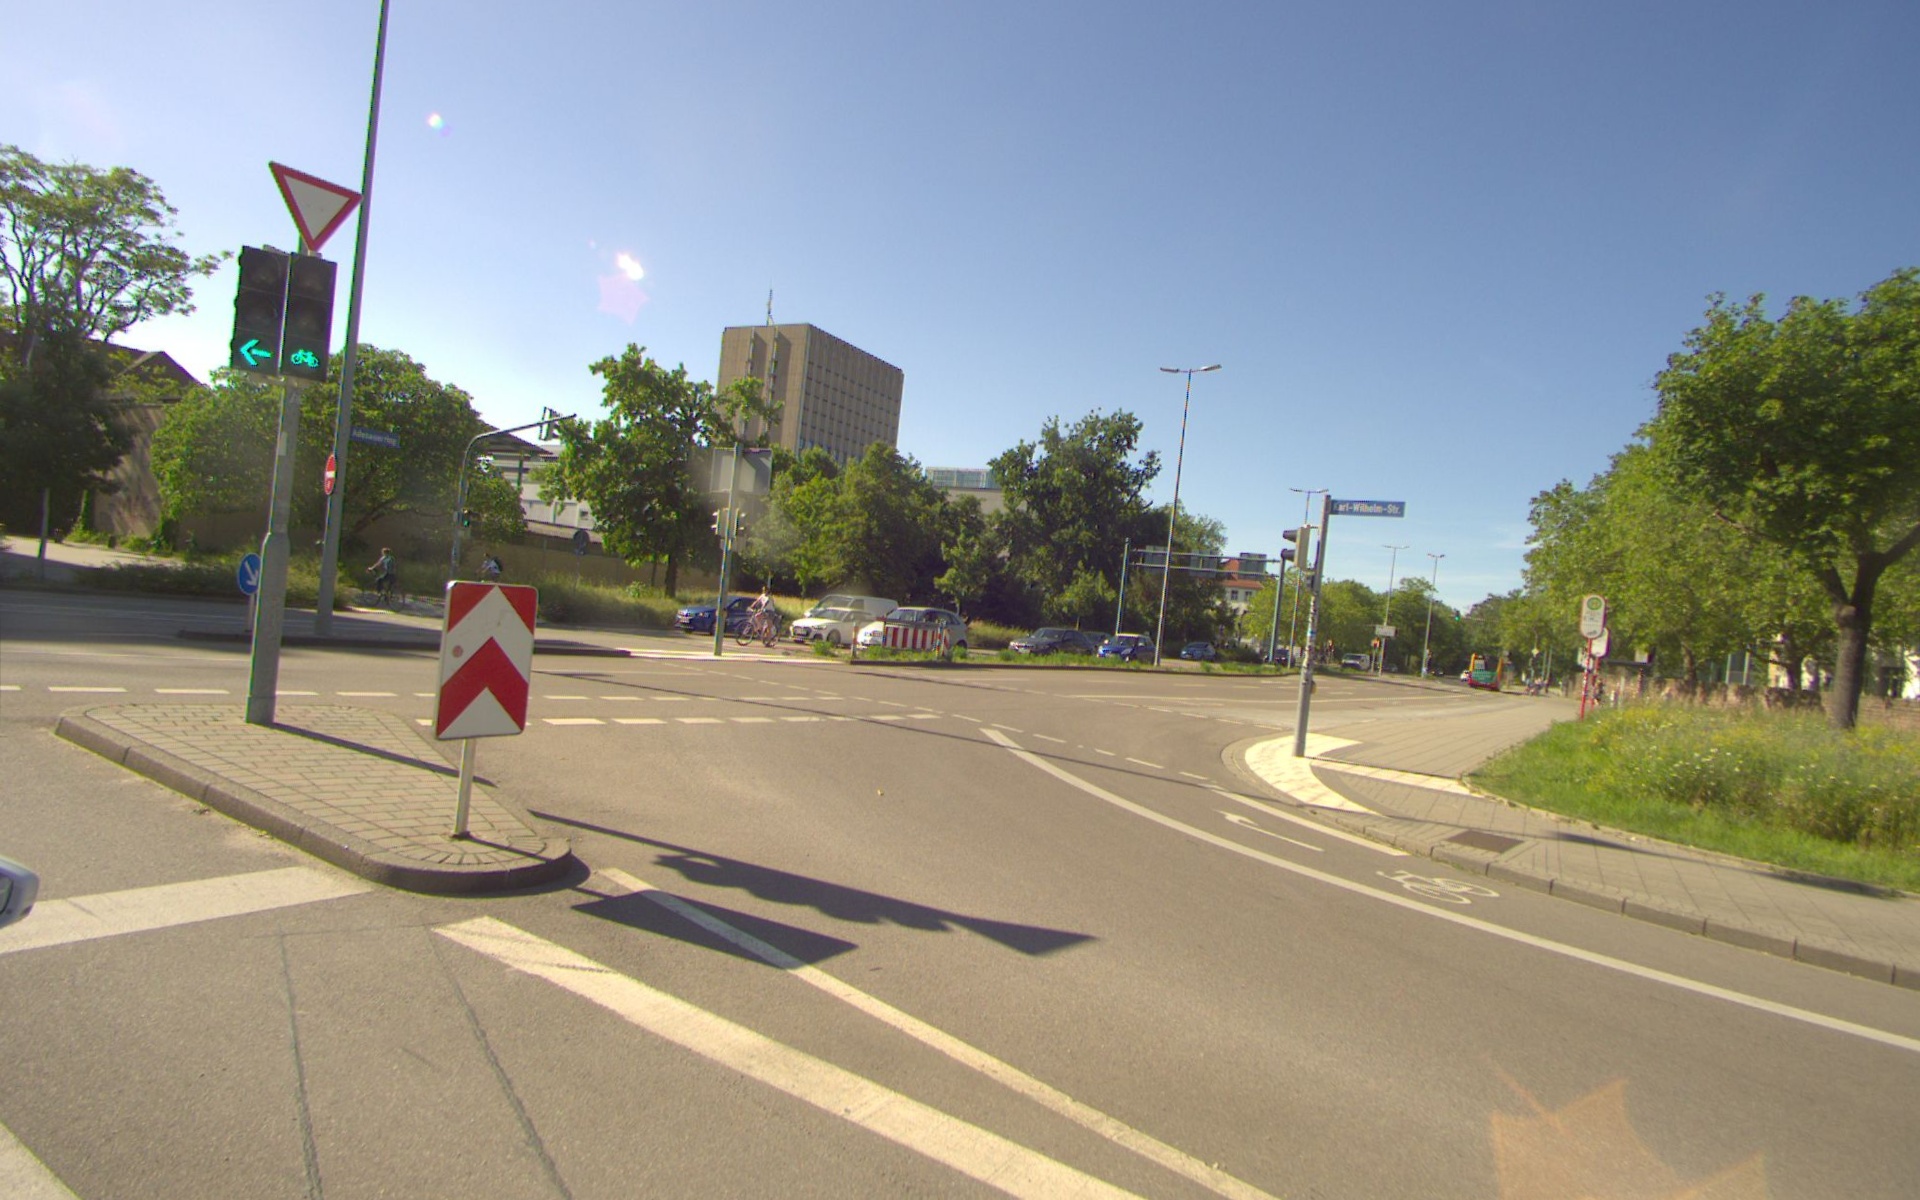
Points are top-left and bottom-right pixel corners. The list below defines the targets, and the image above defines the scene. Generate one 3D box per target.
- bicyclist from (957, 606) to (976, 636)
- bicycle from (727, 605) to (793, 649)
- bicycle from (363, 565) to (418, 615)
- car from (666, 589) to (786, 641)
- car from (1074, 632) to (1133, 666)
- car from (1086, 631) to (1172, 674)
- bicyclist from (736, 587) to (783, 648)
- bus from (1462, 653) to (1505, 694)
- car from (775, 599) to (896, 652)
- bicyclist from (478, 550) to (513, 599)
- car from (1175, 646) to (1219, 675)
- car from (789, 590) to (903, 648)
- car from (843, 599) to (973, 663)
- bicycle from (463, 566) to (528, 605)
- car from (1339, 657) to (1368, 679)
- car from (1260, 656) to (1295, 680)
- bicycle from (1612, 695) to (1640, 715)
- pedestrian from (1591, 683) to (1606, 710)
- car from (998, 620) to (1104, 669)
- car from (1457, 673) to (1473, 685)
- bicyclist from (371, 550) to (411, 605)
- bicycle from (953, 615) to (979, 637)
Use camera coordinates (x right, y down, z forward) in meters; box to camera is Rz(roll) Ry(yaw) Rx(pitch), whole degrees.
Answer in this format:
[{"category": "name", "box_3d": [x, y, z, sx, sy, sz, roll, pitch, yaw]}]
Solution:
[{"category": "bicyclist", "box_3d": [0.398, 1.247, 59.580, 0.632, 1.666, 0.775, 7, 0, 28]}, {"category": "bicycle", "box_3d": [-5.892, 0.812, 29.776, 0.736, 1.180, 1.865, 7, 1, 32]}, {"category": "bicycle", "box_3d": [-16.164, -0.280, 28.528, 1.842, 1.180, 0.640, 8, 2, 39]}, {"category": "car", "box_3d": [-8.212, 0.567, 35.644, 1.678, 1.459, 3.989, 5, -2, 34]}, {"category": "car", "box_3d": [8.888, 3.036, 61.851, 1.907, 1.820, 4.352, 5, -2, 32]}, {"category": "car", "box_3d": [7.660, 2.381, 45.255, 1.953, 1.573, 4.711, 5, -2, 34]}, {"category": "bicyclist", "box_3d": [-5.910, 0.531, 29.682, 0.734, 1.707, 0.975, 7, 2, 32]}, {"category": "bus", "box_3d": [49.272, 6.956, 94.801, 2.935, 3.310, 6.258, 7, -2, 25]}, {"category": "car", "box_3d": [-4.404, 0.930, 35.983, 1.971, 1.487, 3.984, 6, -1, 39]}, {"category": "bicyclist", "box_3d": [-16.765, -0.925, 36.308, 0.827, 1.616, 0.623, 5, 4, -44]}, {"category": "car", "box_3d": [17.800, 4.553, 75.459, 1.816, 1.851, 4.382, 5, -2, 31]}, {"category": "car", "box_3d": [-4.609, 0.828, 41.360, 1.909, 1.976, 4.744, 5, -2, 34]}, {"category": "car", "box_3d": [-1.559, 1.024, 31.632, 1.761, 1.644, 4.304, 5, -2, 34]}, {"category": "bicycle", "box_3d": [-16.777, -0.509, 36.378, 1.945, 1.180, 0.635, 6, 3, -45]}, {"category": "car", "box_3d": [40.973, 7.062, 104.694, 1.908, 1.976, 4.521, 5, -2, 33]}, {"category": "car", "box_3d": [29.395, 6.300, 93.091, 1.907, 1.976, 4.749, 5, -2, 30]}, {"category": "bicycle", "box_3d": [42.415, 6.679, 64.072, 0.781, 1.088, 2.088, 7, -2, 15]}, {"category": "pedestrian", "box_3d": [40.898, 6.160, 64.430, 0.642, 1.629, 0.558, 6, -1, 29]}, {"category": "car", "box_3d": [3.610, 1.767, 39.146, 1.953, 1.573, 4.711, 5, -2, 34]}, {"category": "car", "box_3d": [72.990, 11.430, 145.427, 1.666, 1.611, 3.591, 5, -2, 33]}, {"category": "bicyclist", "box_3d": [-16.142, -0.635, 28.534, 0.765, 1.463, 0.640, 9, 2, 38]}, {"category": "bicycle", "box_3d": [0.390, 1.531, 59.632, 0.632, 1.179, 1.868, 7, 0, 28]}]
